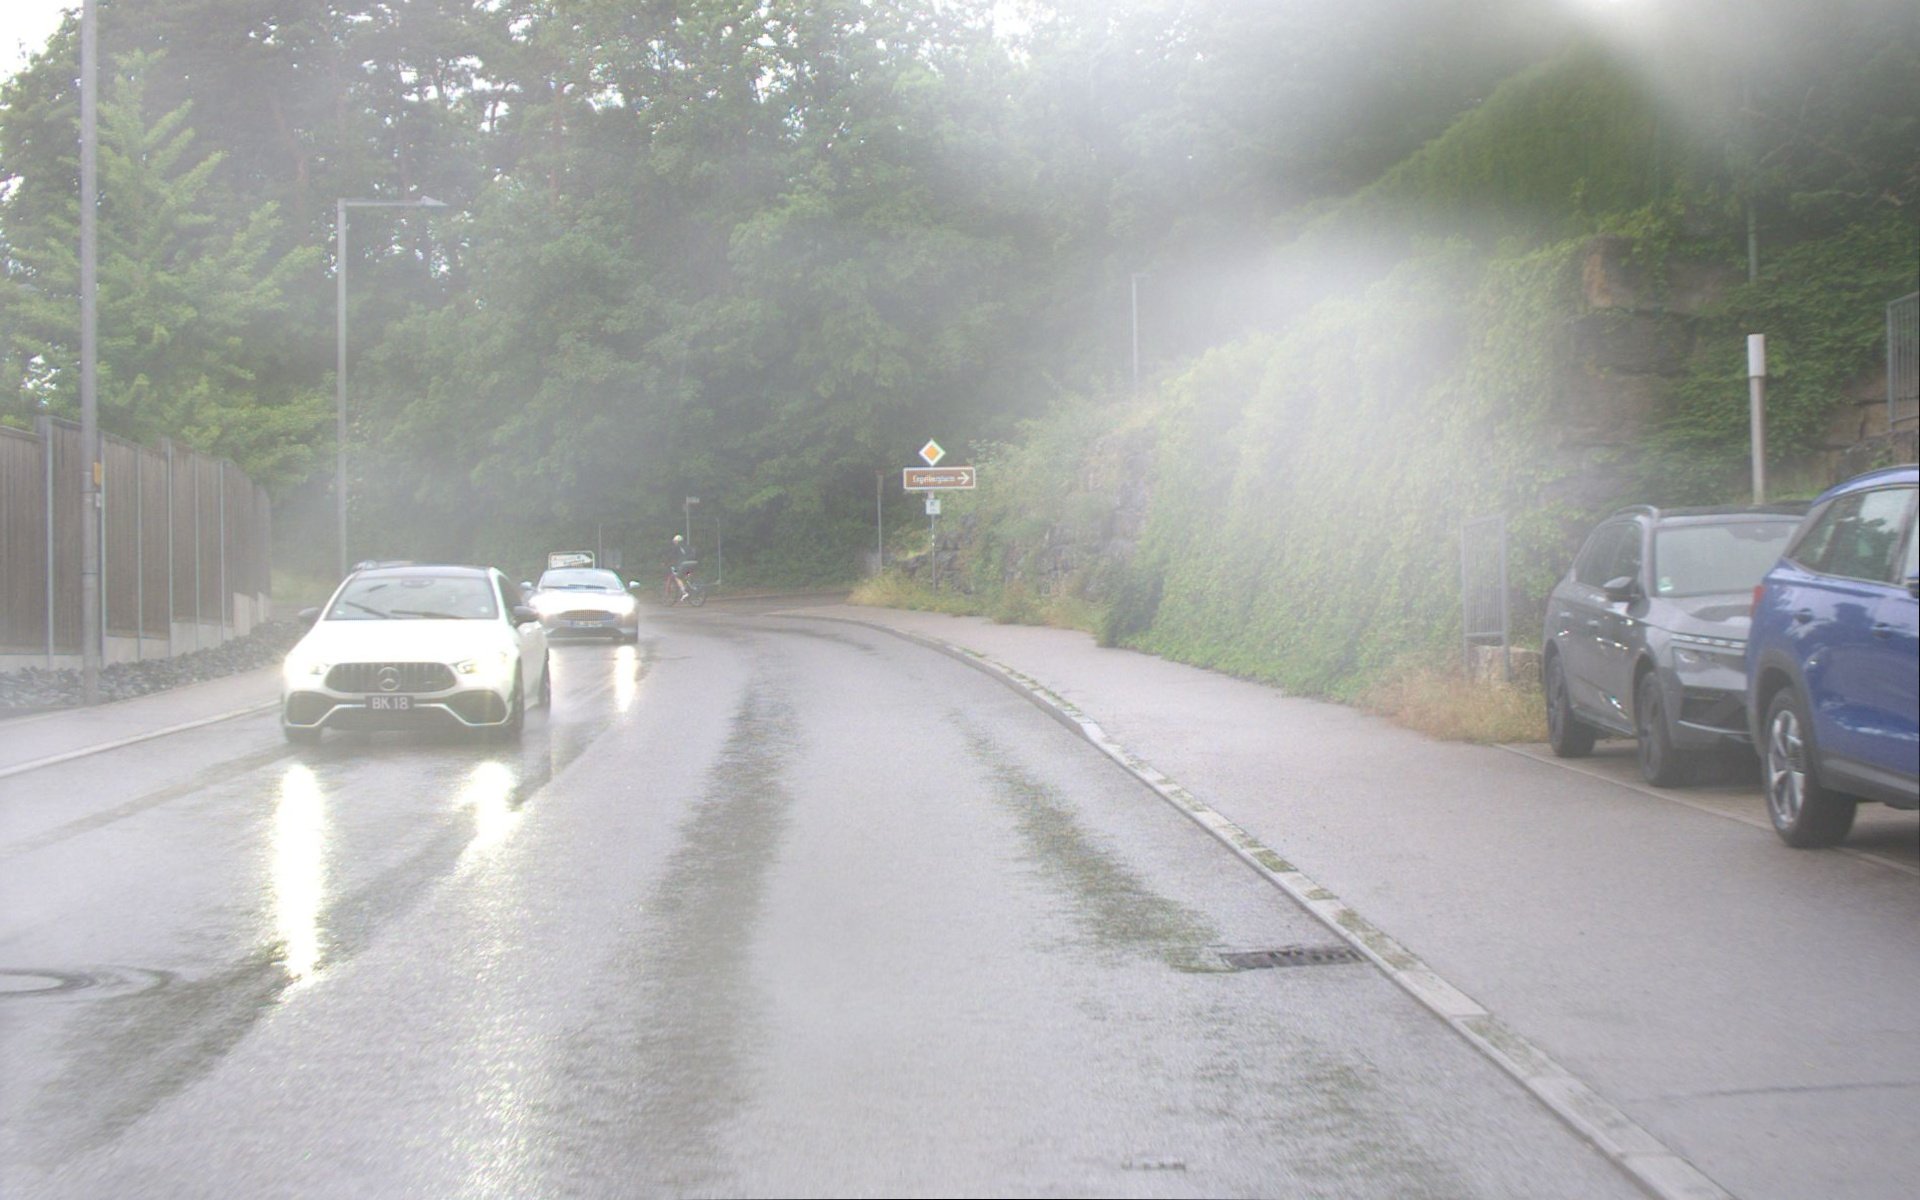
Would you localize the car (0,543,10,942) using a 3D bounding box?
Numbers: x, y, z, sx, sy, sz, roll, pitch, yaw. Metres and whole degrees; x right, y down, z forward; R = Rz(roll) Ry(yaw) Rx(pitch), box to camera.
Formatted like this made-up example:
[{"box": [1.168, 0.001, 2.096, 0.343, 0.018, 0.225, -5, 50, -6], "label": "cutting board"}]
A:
[{"box": [-4.397, 0.540, 10.834, 1.851, 1.464, 3.700, 1, 1, -1], "label": "car"}]

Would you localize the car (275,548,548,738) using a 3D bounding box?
[{"box": [-4.506, 0.305, 28.804, 1.846, 1.455, 4.269, 1, 1, -4], "label": "car"}]

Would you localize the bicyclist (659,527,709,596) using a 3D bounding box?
[{"box": [-6.775, -0.955, 84.404, 0.904, 1.609, 0.721, 6, 5, 37], "label": "bicyclist"}]

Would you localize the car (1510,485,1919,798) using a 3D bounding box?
[{"box": [4.488, 0.174, 19.939, 1.810, 1.558, 4.011, -3, 1, -1], "label": "car"}]

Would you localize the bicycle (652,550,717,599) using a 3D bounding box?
[{"box": [-6.767, -0.630, 84.408, 1.619, 1.081, 0.528, 5, 5, 38], "label": "bicycle"}]

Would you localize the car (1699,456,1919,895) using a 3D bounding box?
[{"box": [4.575, 0.232, 13.654, 1.993, 1.664, 4.545, -3, 1, -3], "label": "car"}]

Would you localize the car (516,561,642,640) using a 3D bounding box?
[{"box": [-6.607, -0.010, 59.326, 1.881, 1.279, 4.210, -1, 1, -10], "label": "car"}]
